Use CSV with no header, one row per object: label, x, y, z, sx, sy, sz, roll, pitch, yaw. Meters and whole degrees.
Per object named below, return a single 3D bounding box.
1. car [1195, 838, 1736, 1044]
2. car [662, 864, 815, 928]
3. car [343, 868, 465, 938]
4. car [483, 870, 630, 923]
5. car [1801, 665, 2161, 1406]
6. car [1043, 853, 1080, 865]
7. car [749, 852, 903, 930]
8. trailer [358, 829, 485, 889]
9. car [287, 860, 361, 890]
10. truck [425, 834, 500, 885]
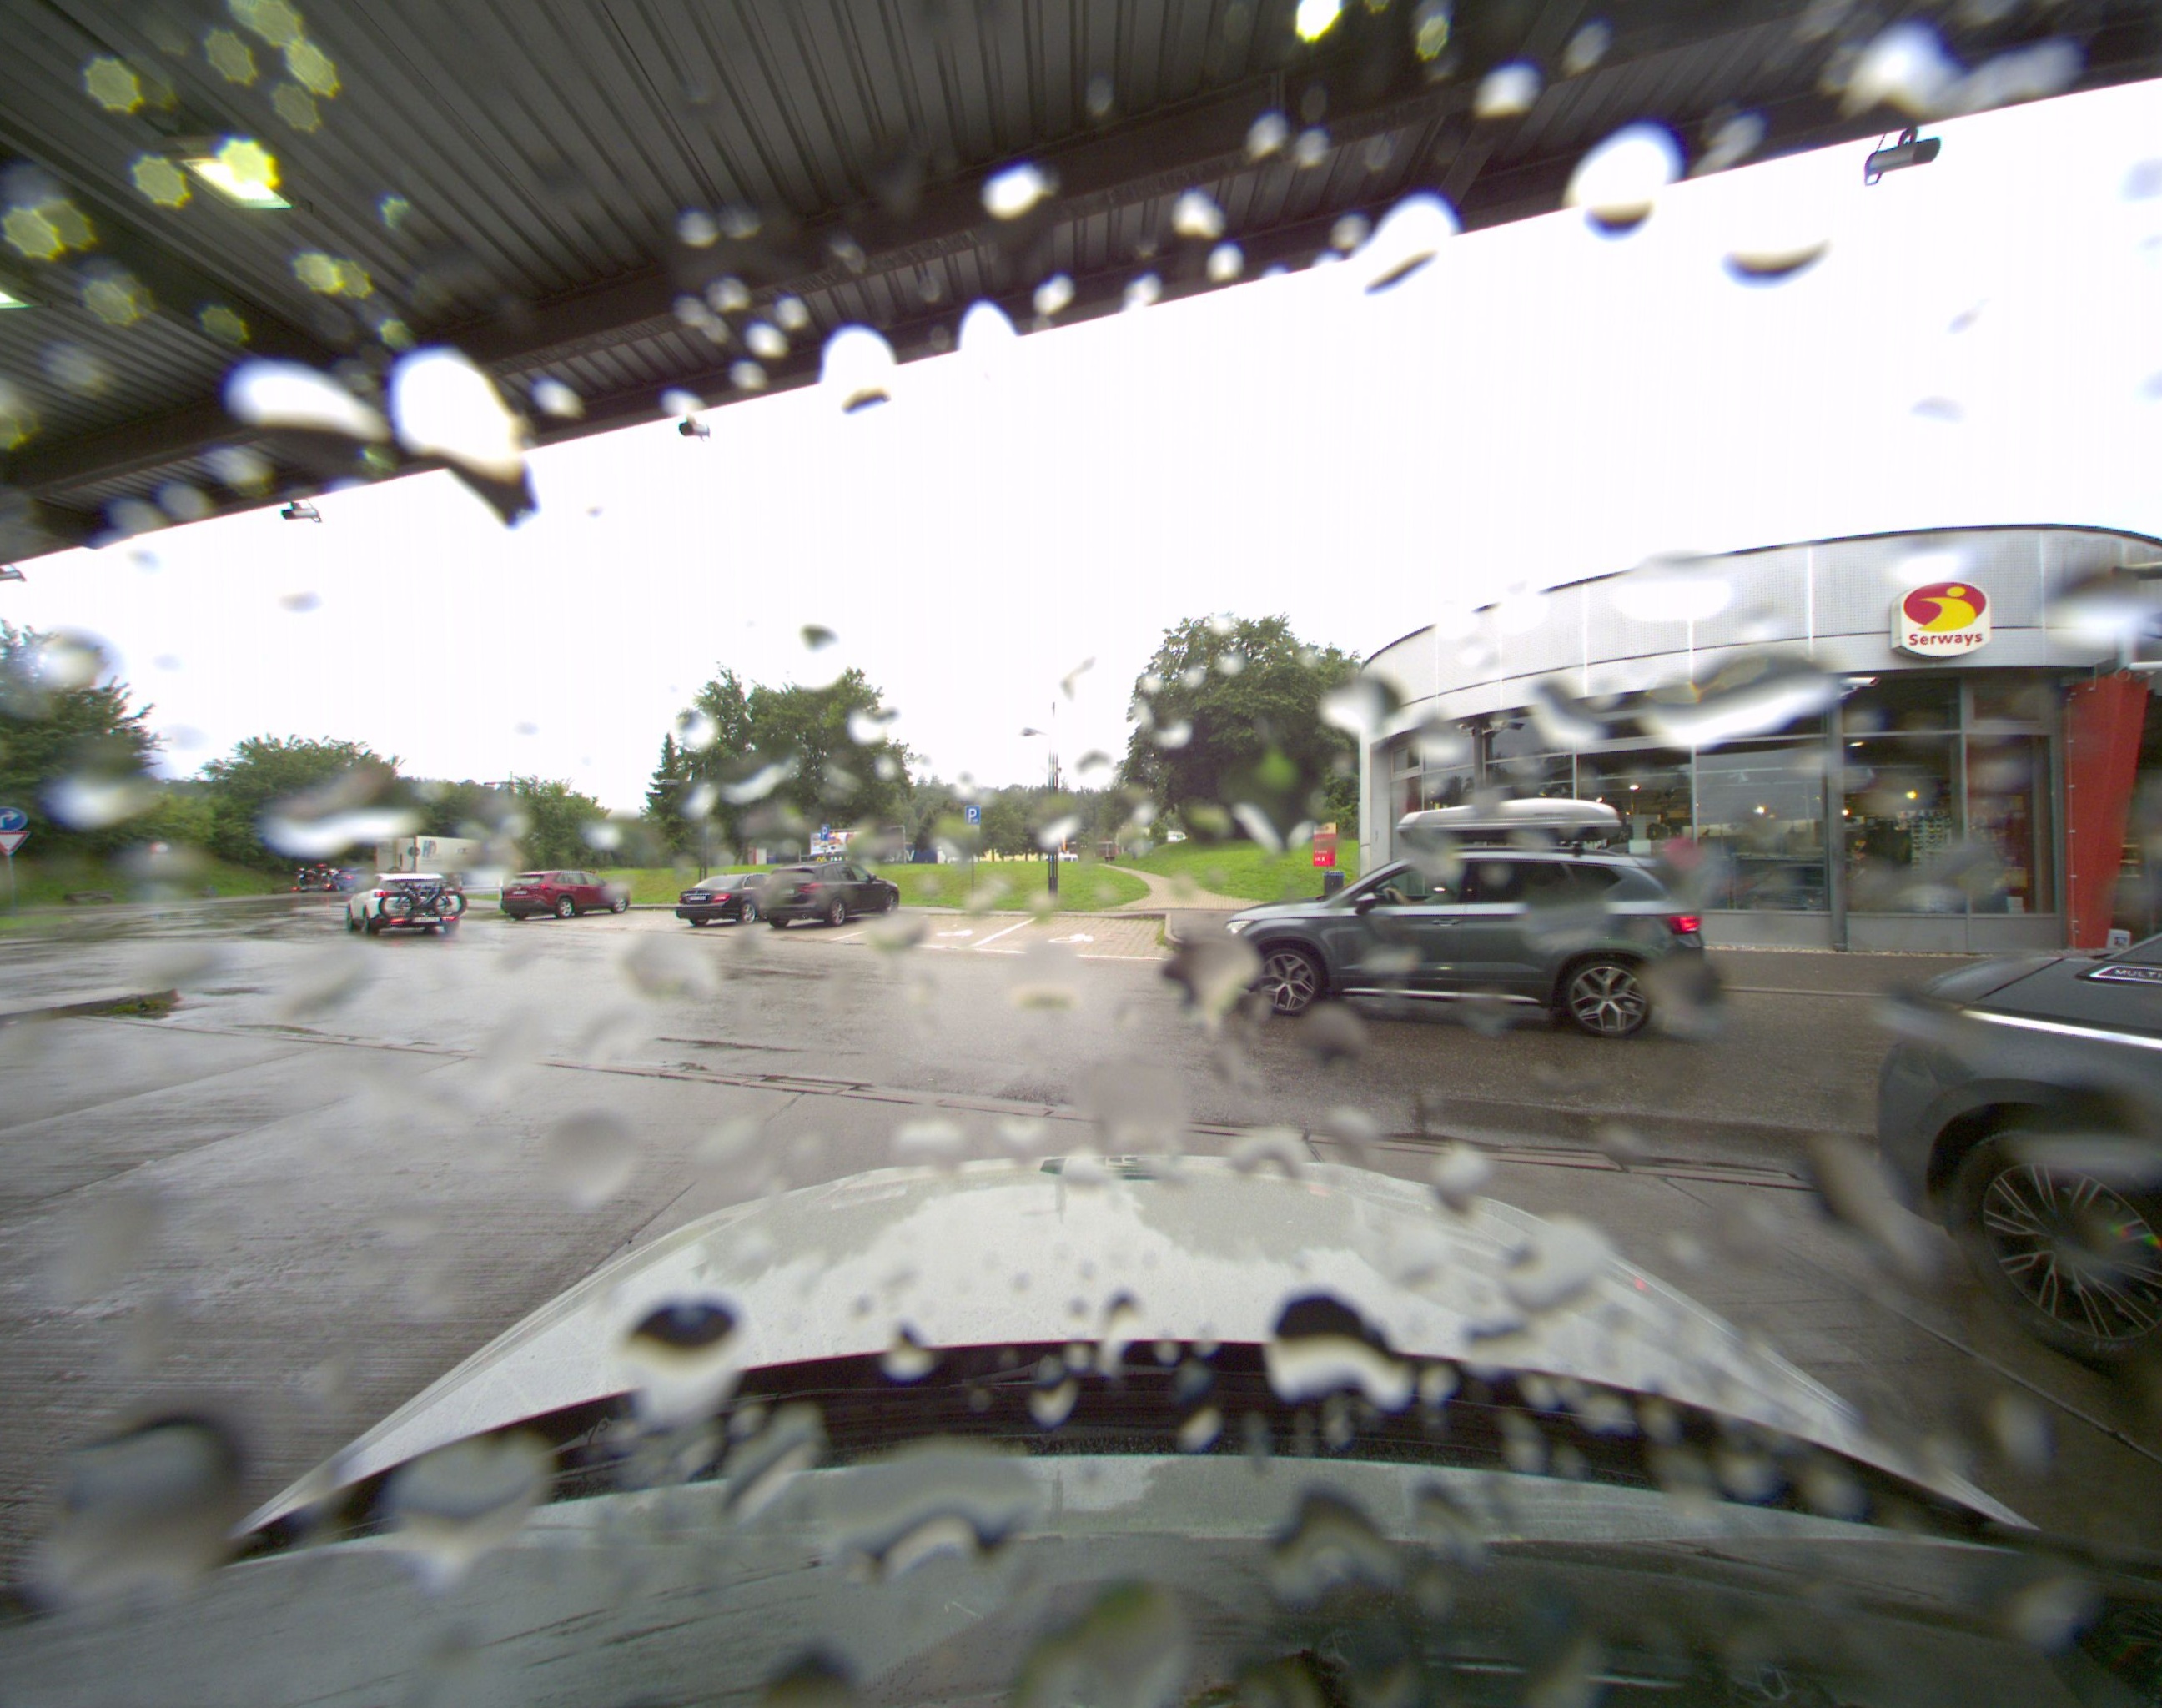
car,3.470,0.678,8.000,4.273,1.587,1.901,-1,0,24
car,-9.625,1.140,23.283,1.871,1.565,4.200,-2,0,13
car,-17.703,1.172,21.203,4.941,1.565,1.831,-1,0,43
car,-18.167,1.420,28.506,1.873,1.596,4.364,-2,0,8
car,3.710,0.470,1.216,1.809,1.948,4.002,-1,0,2
car,-3.196,0.809,134.063,5.376,2.013,2.468,-1,0,21
car,-6.624,0.891,21.726,1.871,1.828,4.429,-2,0,13
trailer,-54.897,0.431,68.462,3.466,4.557,13.827,0,-1,-18
car,-49.244,1.319,53.092,1.934,1.838,4.361,-1,0,-20
truck,-57.120,0.505,75.402,3.467,4.557,6.694,0,-1,-18
